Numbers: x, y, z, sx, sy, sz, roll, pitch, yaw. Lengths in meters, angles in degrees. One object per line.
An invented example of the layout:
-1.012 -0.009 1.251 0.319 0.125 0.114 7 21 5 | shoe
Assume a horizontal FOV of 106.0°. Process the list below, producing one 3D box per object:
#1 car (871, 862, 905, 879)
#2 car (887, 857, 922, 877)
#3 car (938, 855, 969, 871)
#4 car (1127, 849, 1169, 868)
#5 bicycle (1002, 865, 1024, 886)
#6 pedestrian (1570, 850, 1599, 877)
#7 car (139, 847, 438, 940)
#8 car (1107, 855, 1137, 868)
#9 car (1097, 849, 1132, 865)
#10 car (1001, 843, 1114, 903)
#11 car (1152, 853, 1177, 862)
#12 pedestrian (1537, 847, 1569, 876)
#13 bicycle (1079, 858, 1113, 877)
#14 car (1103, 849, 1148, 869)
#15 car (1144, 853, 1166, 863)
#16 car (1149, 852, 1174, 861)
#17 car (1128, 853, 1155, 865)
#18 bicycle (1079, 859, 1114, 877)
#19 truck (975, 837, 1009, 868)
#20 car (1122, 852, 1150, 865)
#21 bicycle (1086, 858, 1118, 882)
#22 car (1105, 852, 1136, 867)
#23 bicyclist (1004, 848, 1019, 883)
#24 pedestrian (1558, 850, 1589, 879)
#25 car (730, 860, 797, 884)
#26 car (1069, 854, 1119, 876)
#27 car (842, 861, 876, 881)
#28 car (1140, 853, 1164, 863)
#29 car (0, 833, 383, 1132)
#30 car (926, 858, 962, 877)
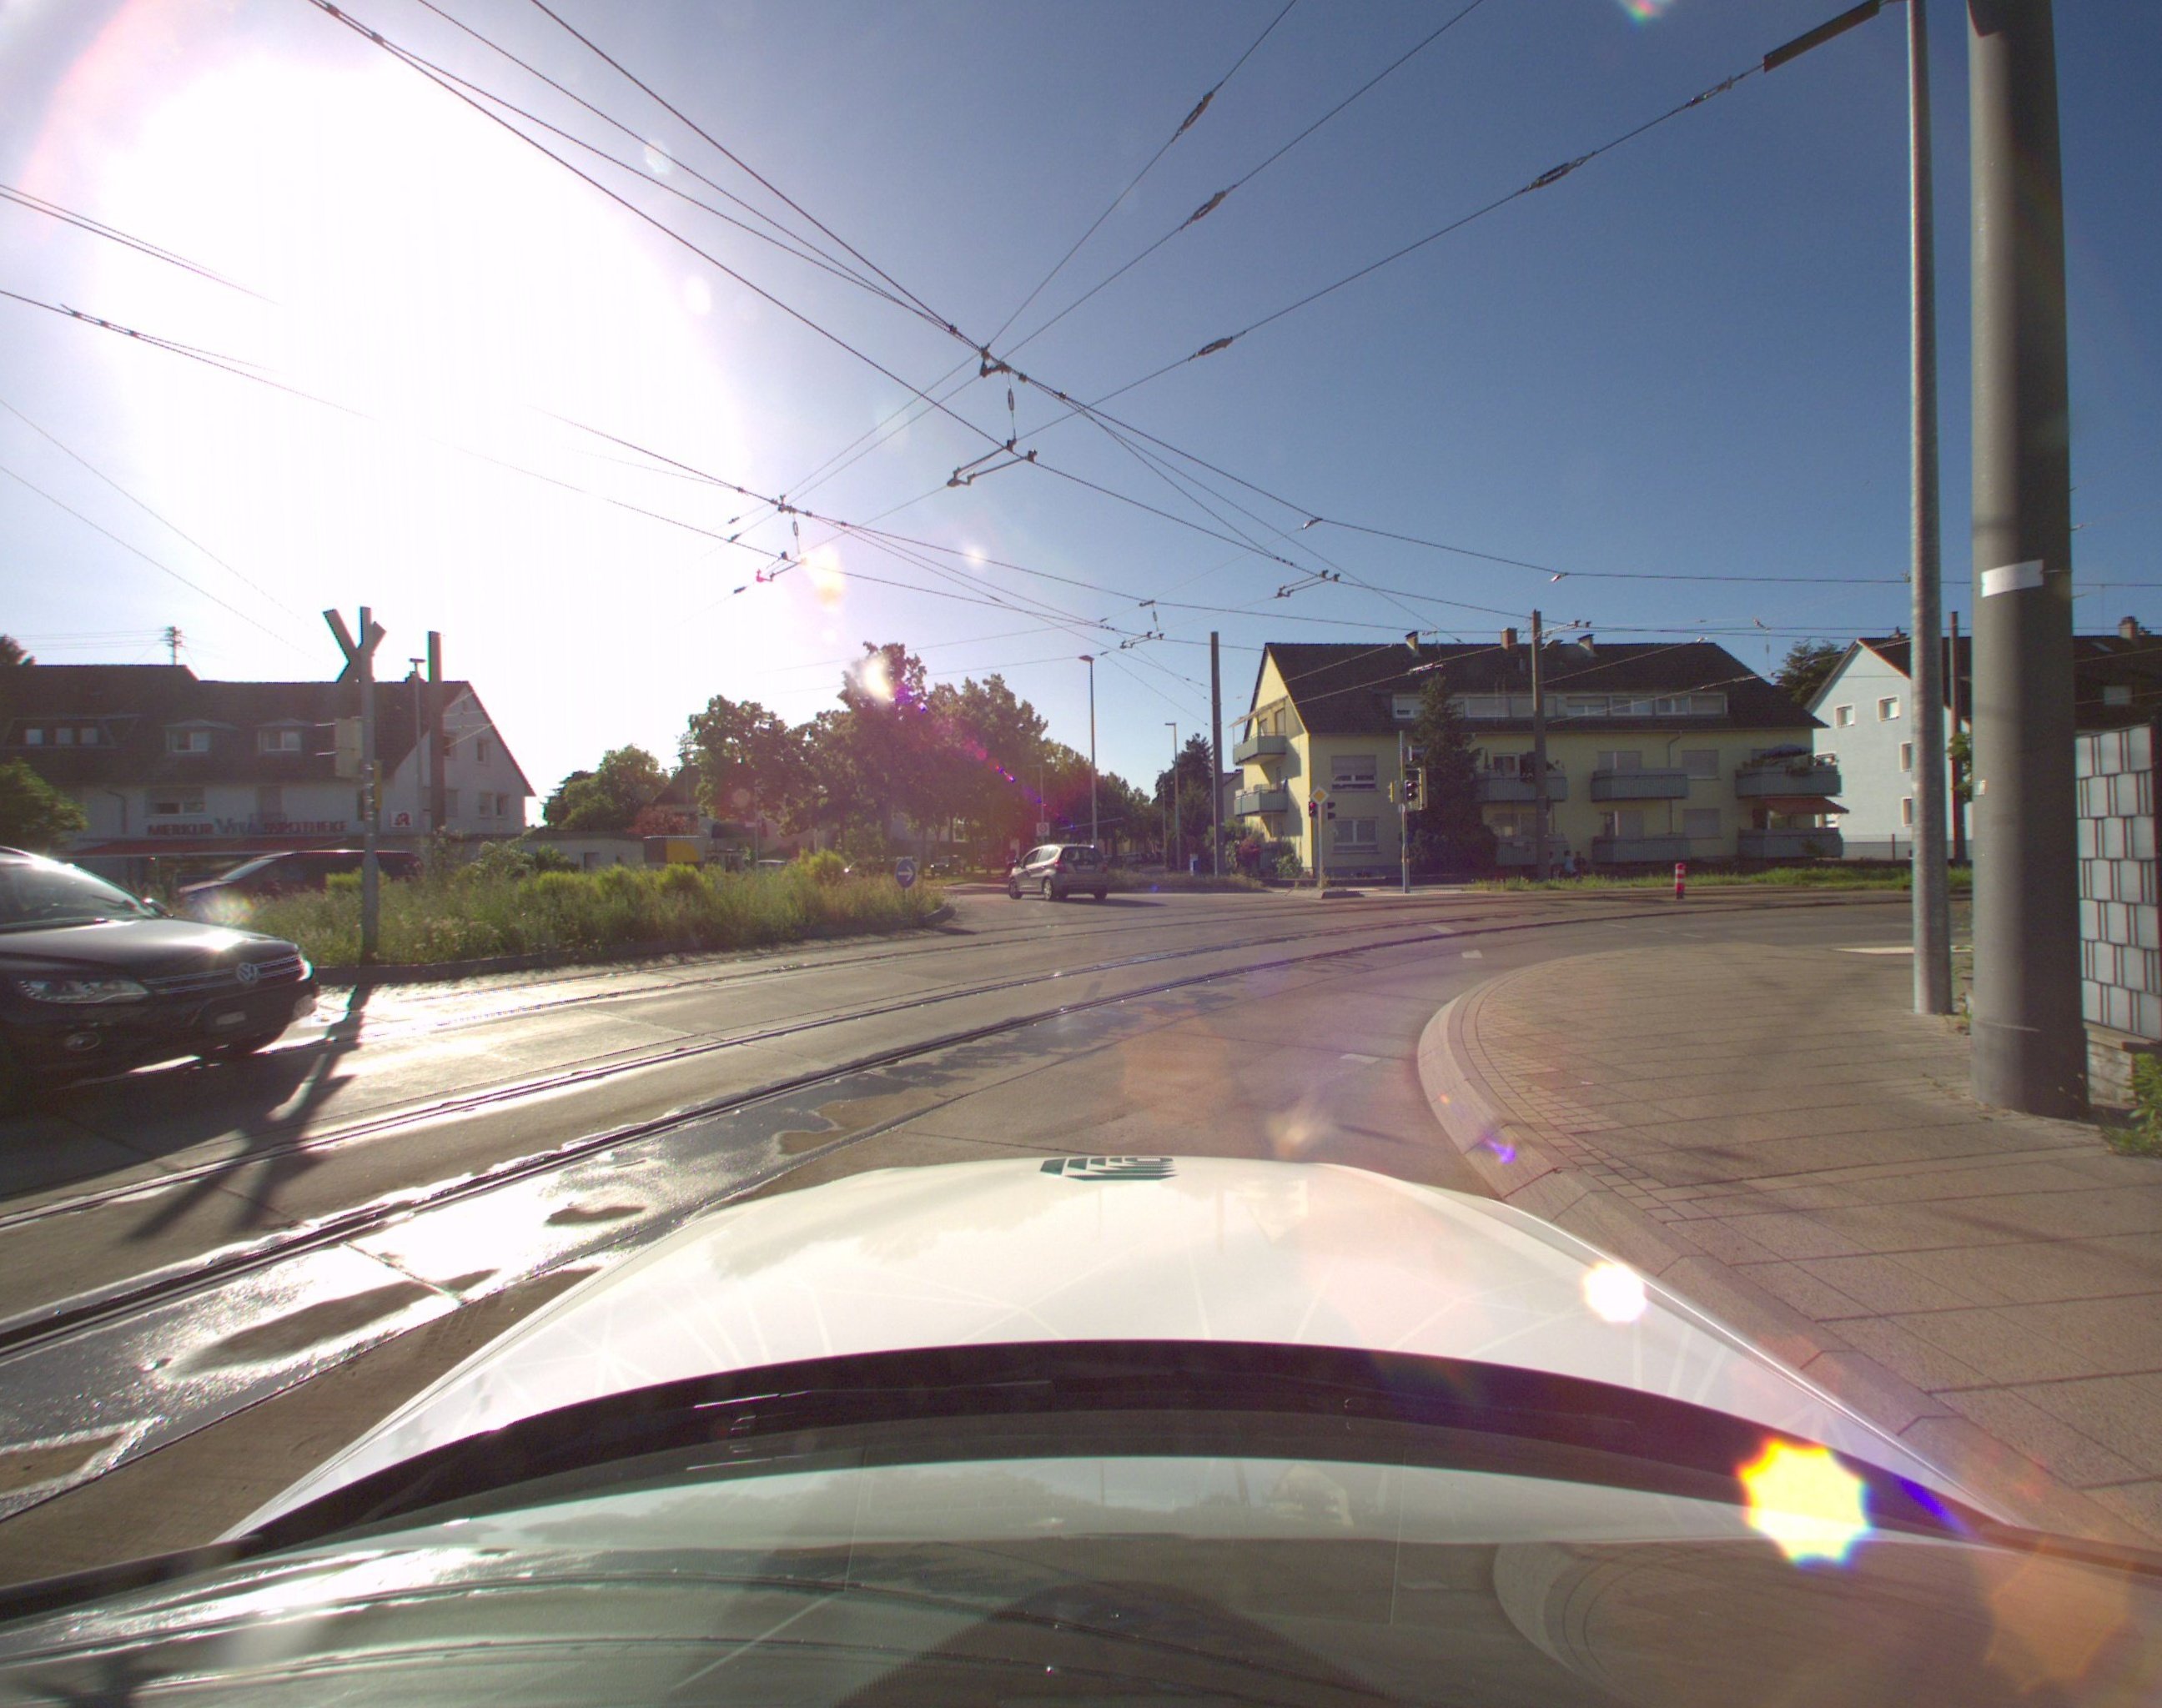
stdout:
-16.149 1.339 68.301 1.955 1.324 3.999 0 0 -1 | car
-15.788 1.133 73.106 1.985 1.699 4.222 0 0 3 | car
-14.013 0.971 89.603 1.983 1.773 5.070 0 0 7 | car
5.715 0.374 69.662 3.501 1.533 1.579 0 0 4 | car
-3.408 1.072 40.667 0.768 1.037 1.525 0 -2 -17 | bicycle
19.087 0.354 30.872 0.596 1.006 0.718 0 0 -27 | pedestrian
-20.774 0.939 21.752 1.976 1.981 5.267 -2 2 22 | car
4.824 0.891 96.136 3.422 1.394 1.240 -1 0 7 | car
3.364 0.295 81.460 3.501 1.533 1.579 0 0 4 | car
-0.756 0.452 22.777 1.696 1.490 3.881 -2 1 -26 | car
11.679 0.495 113.889 3.502 1.296 1.579 0 0 3 | car
17.625 0.278 30.450 0.685 1.046 0.818 -1 0 -6 | pedestrian
0.851 0.773 46.937 1.967 1.027 0.689 0 0 -1 | bicycle
3.559 0.409 64.261 3.501 1.533 1.579 0 0 4 | car
12.182 0.647 134.294 3.502 1.533 1.579 0 0 3 | car
11.218 0.310 113.720 3.502 1.279 1.579 0 0 3 | car
7.723 0.607 104.434 3.464 1.493 1.553 0 0 3 | car
0.860 0.773 45.987 1.967 1.027 0.696 0 0 -1 | bicycle
-11.625 -0.248 107.200 3.056 3.993 8.016 0 0 3 | truck
6.692 0.560 99.697 3.345 1.533 1.524 0 0 3 | car
1.099 0.836 42.285 1.660 1.208 0.689 0 0 0 | bicycle
4.608 0.637 94.202 3.393 1.533 1.528 -2 0 7 | car
-3.498 0.569 41.023 0.604 1.714 0.541 -1 -4 -17 | bicyclist
18.521 0.397 30.627 0.629 1.065 0.811 0 0 -36 | pedestrian
-22.894 1.275 58.792 4.019 1.694 2.003 0 0 4 | car
0.965 0.788 59.391 3.501 1.533 1.579 0 0 4 | car
-16.912 1.253 62.150 1.796 1.464 3.796 0 0 -4 | car
10.787 0.644 123.707 3.502 1.533 1.579 0 0 3 | car
-7.623 0.745 5.453 4.230 1.670 1.817 -1 1 -1 | car
-11.853 1.143 70.745 1.820 1.580 4.451 0 0 8 | car
